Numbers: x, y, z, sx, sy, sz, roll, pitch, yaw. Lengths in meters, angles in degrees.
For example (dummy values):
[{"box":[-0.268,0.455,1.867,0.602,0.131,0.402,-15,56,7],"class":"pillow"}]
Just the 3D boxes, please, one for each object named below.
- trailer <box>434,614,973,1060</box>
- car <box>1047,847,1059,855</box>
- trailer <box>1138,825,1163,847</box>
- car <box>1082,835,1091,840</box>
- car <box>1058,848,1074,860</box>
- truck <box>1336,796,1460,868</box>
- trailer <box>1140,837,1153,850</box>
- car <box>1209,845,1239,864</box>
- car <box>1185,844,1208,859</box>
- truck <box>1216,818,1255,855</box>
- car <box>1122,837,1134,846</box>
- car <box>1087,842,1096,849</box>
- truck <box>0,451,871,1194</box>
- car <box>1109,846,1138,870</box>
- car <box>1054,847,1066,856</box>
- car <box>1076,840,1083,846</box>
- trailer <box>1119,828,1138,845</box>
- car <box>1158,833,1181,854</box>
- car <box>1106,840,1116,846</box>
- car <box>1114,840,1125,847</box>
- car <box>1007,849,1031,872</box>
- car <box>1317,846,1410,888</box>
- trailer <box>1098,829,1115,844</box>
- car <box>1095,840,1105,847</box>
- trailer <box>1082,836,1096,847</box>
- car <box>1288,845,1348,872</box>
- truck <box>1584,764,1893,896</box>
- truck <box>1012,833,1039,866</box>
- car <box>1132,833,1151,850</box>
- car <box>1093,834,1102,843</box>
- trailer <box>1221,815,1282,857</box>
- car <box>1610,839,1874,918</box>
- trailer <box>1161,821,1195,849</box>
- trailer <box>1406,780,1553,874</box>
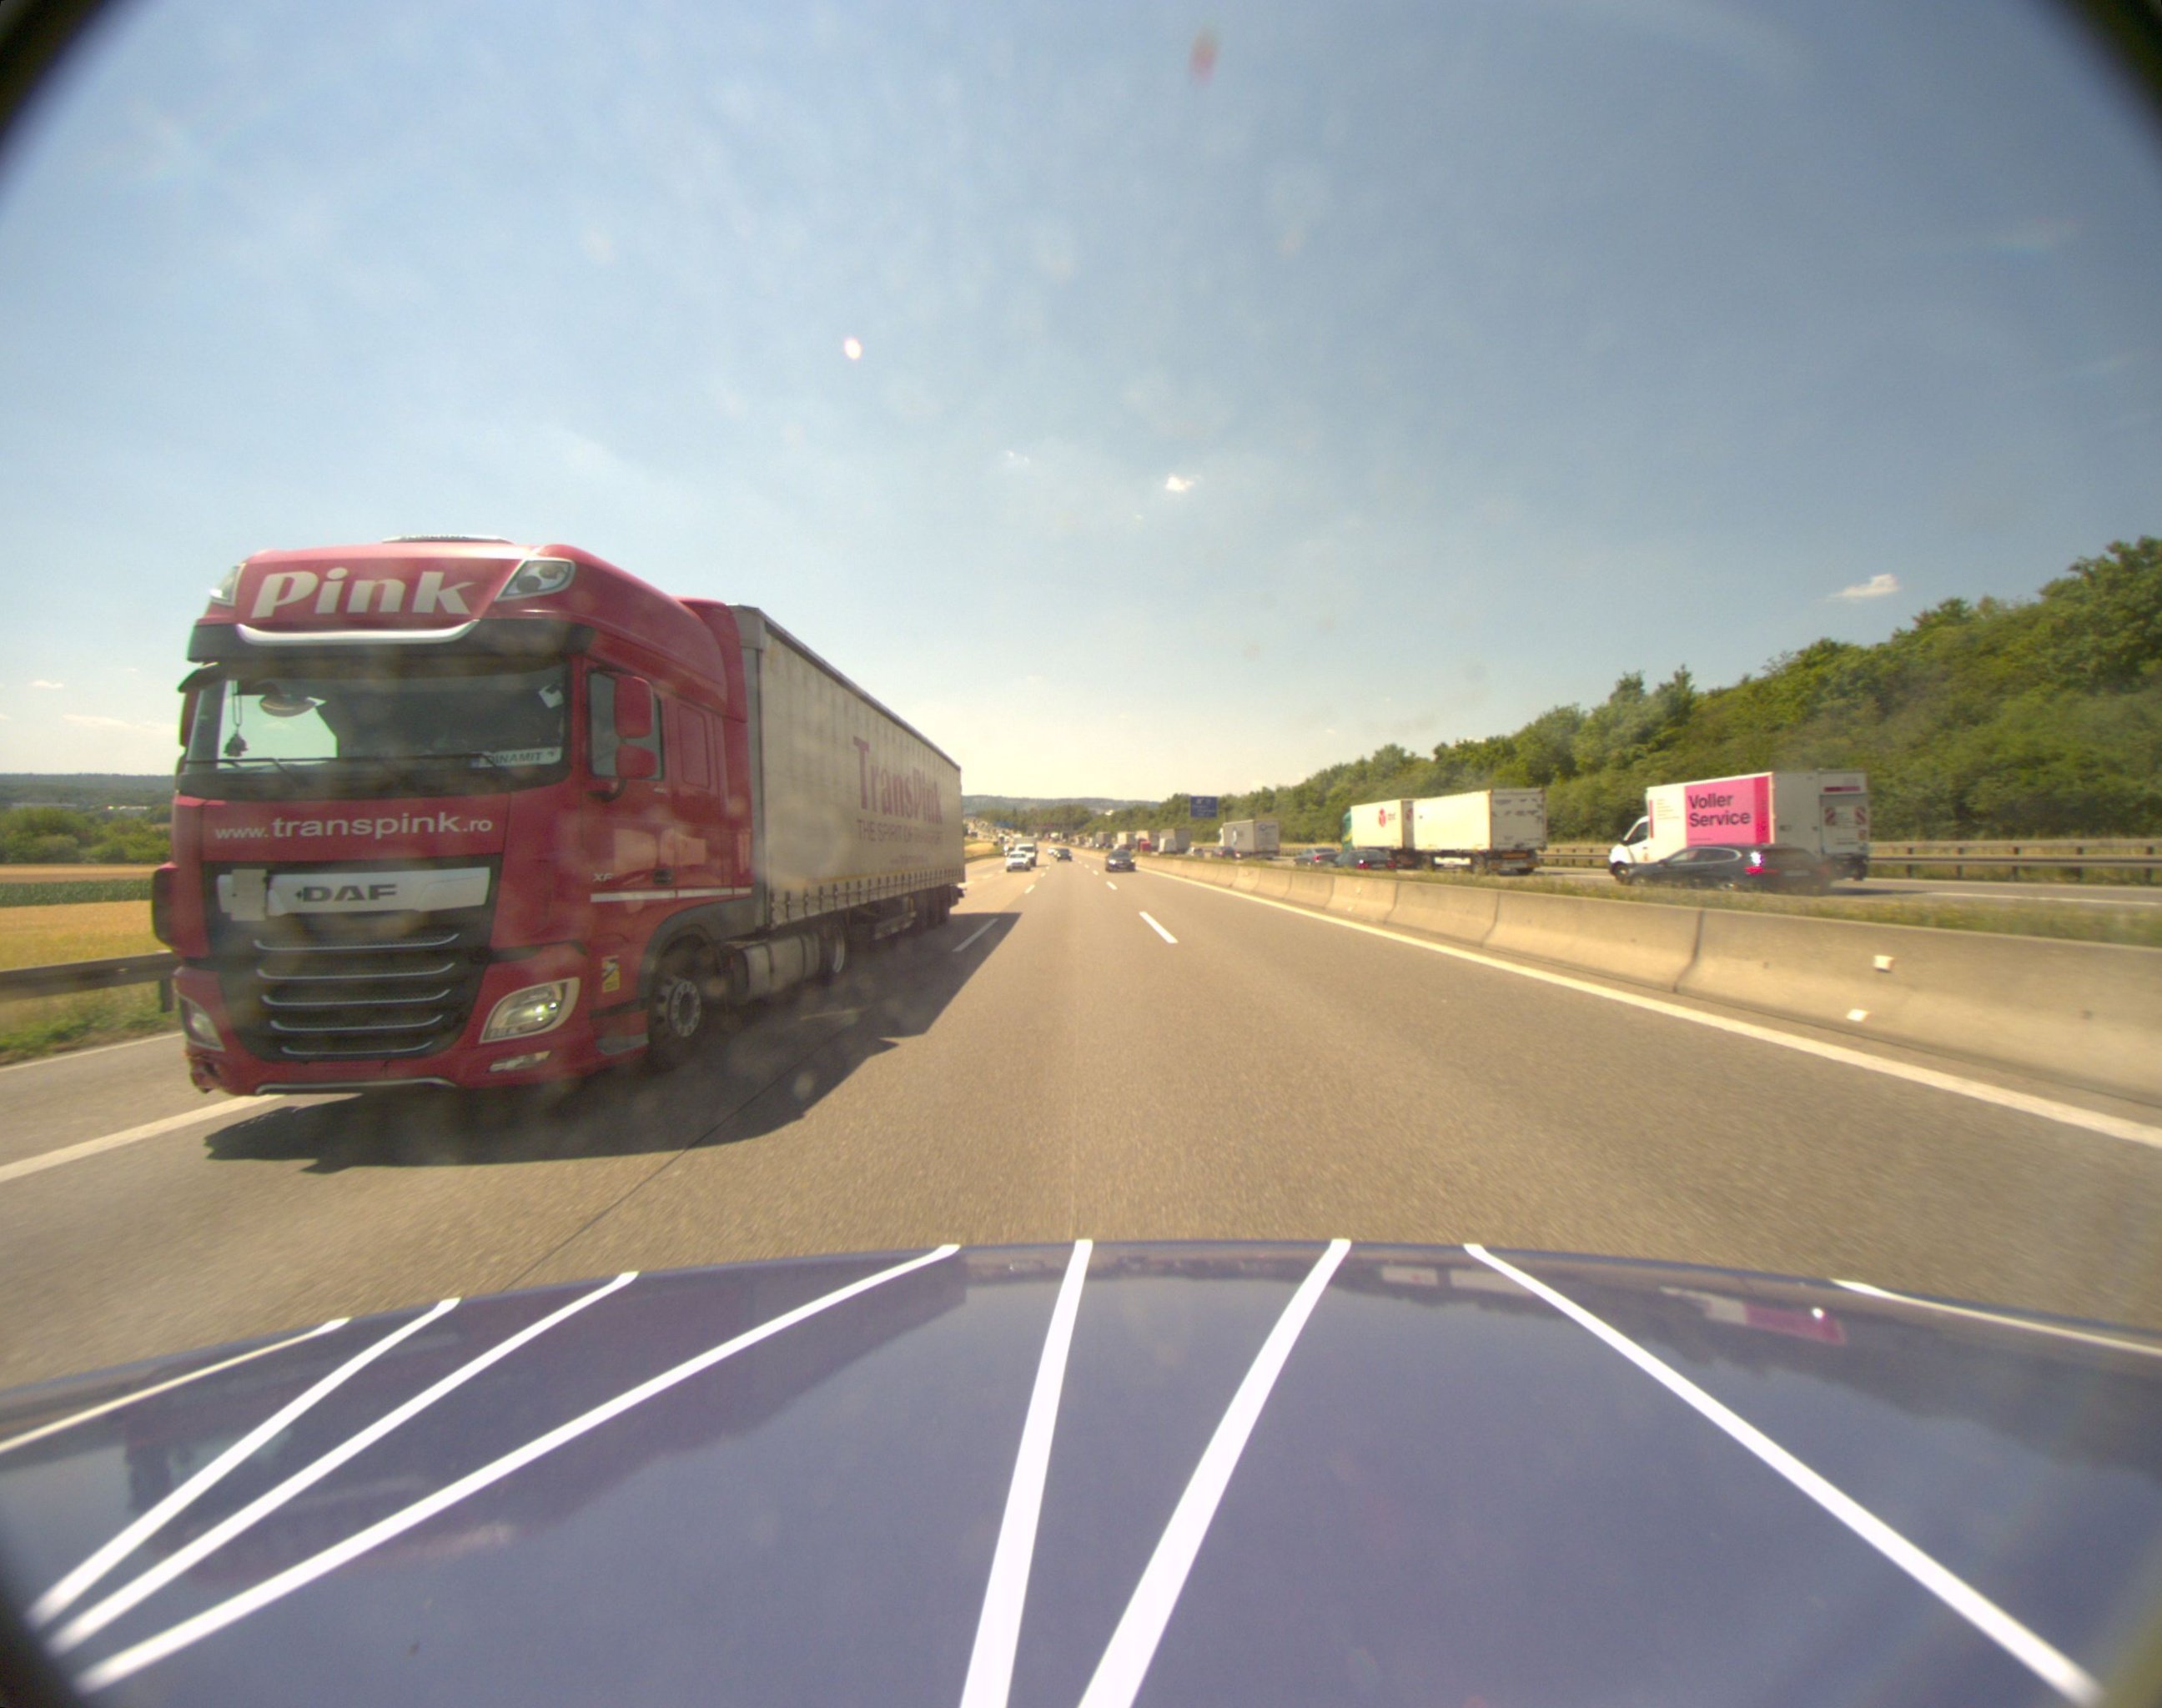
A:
[{"box":[-4.524,-0.273,14.099,2.926,4.094,13.854,-2,1,0],"class":"trailer"},{"box":[-5.444,-0.590,148.417,2.000,1.467,3.996,-2,3,-7],"class":"car"},{"box":[13.946,-3.689,154.228,2.819,4.254,13.860,-2,1,-4],"class":"trailer"},{"box":[1.795,-5.461,249.671,2.113,1.713,4.926,-2,2,-7],"class":"car"},{"box":[-1.909,-0.029,95.963,1.866,1.426,3.997,-1,2,-3],"class":"car"},{"box":[19.060,-1.265,46.748,2.850,3.876,11.244,-1,1,-1],"class":"truck"},{"box":[11.460,-1.840,133.450,1.574,2.240,3.959,-1,1,-5],"class":"trailer"},{"box":[14.200,0.028,75.515,1.866,1.632,5.110,-2,3,-2],"class":"car"},{"box":[13.566,-0.325,89.785,1.756,1.452,4.855,-2,3,-2],"class":"car"},{"box":[17.710,-1.981,87.456,2.861,4.013,6.601,-1,1,-2],"class":"truck"},{"box":[9.878,-2.669,160.253,1.999,1.706,4.788,-2,2,-4],"class":"car"},{"box":[2.687,-2.358,201.704,1.999,1.634,4.403,-2,2,-5],"class":"car"},{"box":[-4.507,-0.211,7.444,2.924,3.986,6.509,-2,1,0],"class":"truck"},{"box":[2.851,0.280,51.940,1.807,1.534,4.750,-1,0,2],"class":"car"},{"box":[-3.427,-0.426,123.755,1.866,1.322,3.997,-1,2,-2],"class":"car"},{"box":[-0.459,-3.389,230.349,1.999,1.570,4.592,-2,2,-5],"class":"car"},{"box":[11.633,-4.369,187.185,2.911,3.851,13.867,-2,2,-4],"class":"trailer"},{"box":[12.880,-1.627,111.144,2.145,2.771,6.620,-2,3,-3],"class":"car"},{"box":[7.455,-2.744,191.416,1.882,1.426,4.921,-2,2,-5],"class":"car"},{"box":[8.599,-2.389,170.490,1.886,1.466,4.403,-2,2,-4],"class":"car"},{"box":[-5.044,0.511,62.159,1.837,1.636,4.169,-2,2,-4],"class":"car"},{"box":[11.453,0.456,31.196,1.999,1.518,4.771,-2,1,0],"class":"car"},{"box":[7.613,-5.340,229.463,3.231,4.396,13.768,-1,2,-5],"class":"trailer"},{"box":[4.524,-2.464,180.179,1.937,1.679,4.793,-1,1,-4],"class":"car"},{"box":[2.512,-4.058,242.298,2.878,3.166,10.718,-2,3,-7],"class":"trailer"},{"box":[14.814,0.245,47.841,1.999,1.536,5.492,-1,1,-1],"class":"car"},{"box":[18.821,-0.637,22.629,2.545,3.189,7.587,-2,1,-1],"class":"truck"},{"box":[-5.613,-0.540,77.568,2.445,3.011,6.912,-2,2,-3],"class":"truck"},{"box":[10.974,-2.353,138.558,2.243,2.997,6.547,-1,1,-5],"class":"car"},{"box":[4.868,-4.539,221.584,1.903,2.559,7.567,-2,2,-4],"class":"car"},{"box":[17.902,-1.877,80.870,2.910,4.063,14.440,-1,1,-1],"class":"trailer"},{"box":[14.996,0.474,17.711,1.999,1.518,4.771,-2,1,0],"class":"car"},{"box":[16.068,-3.176,126.796,2.990,4.183,14.184,-2,2,-3],"class":"trailer"},{"box":[19.155,-1.216,37.307,2.927,4.048,8.228,-1,1,0],"class":"trailer"}]
